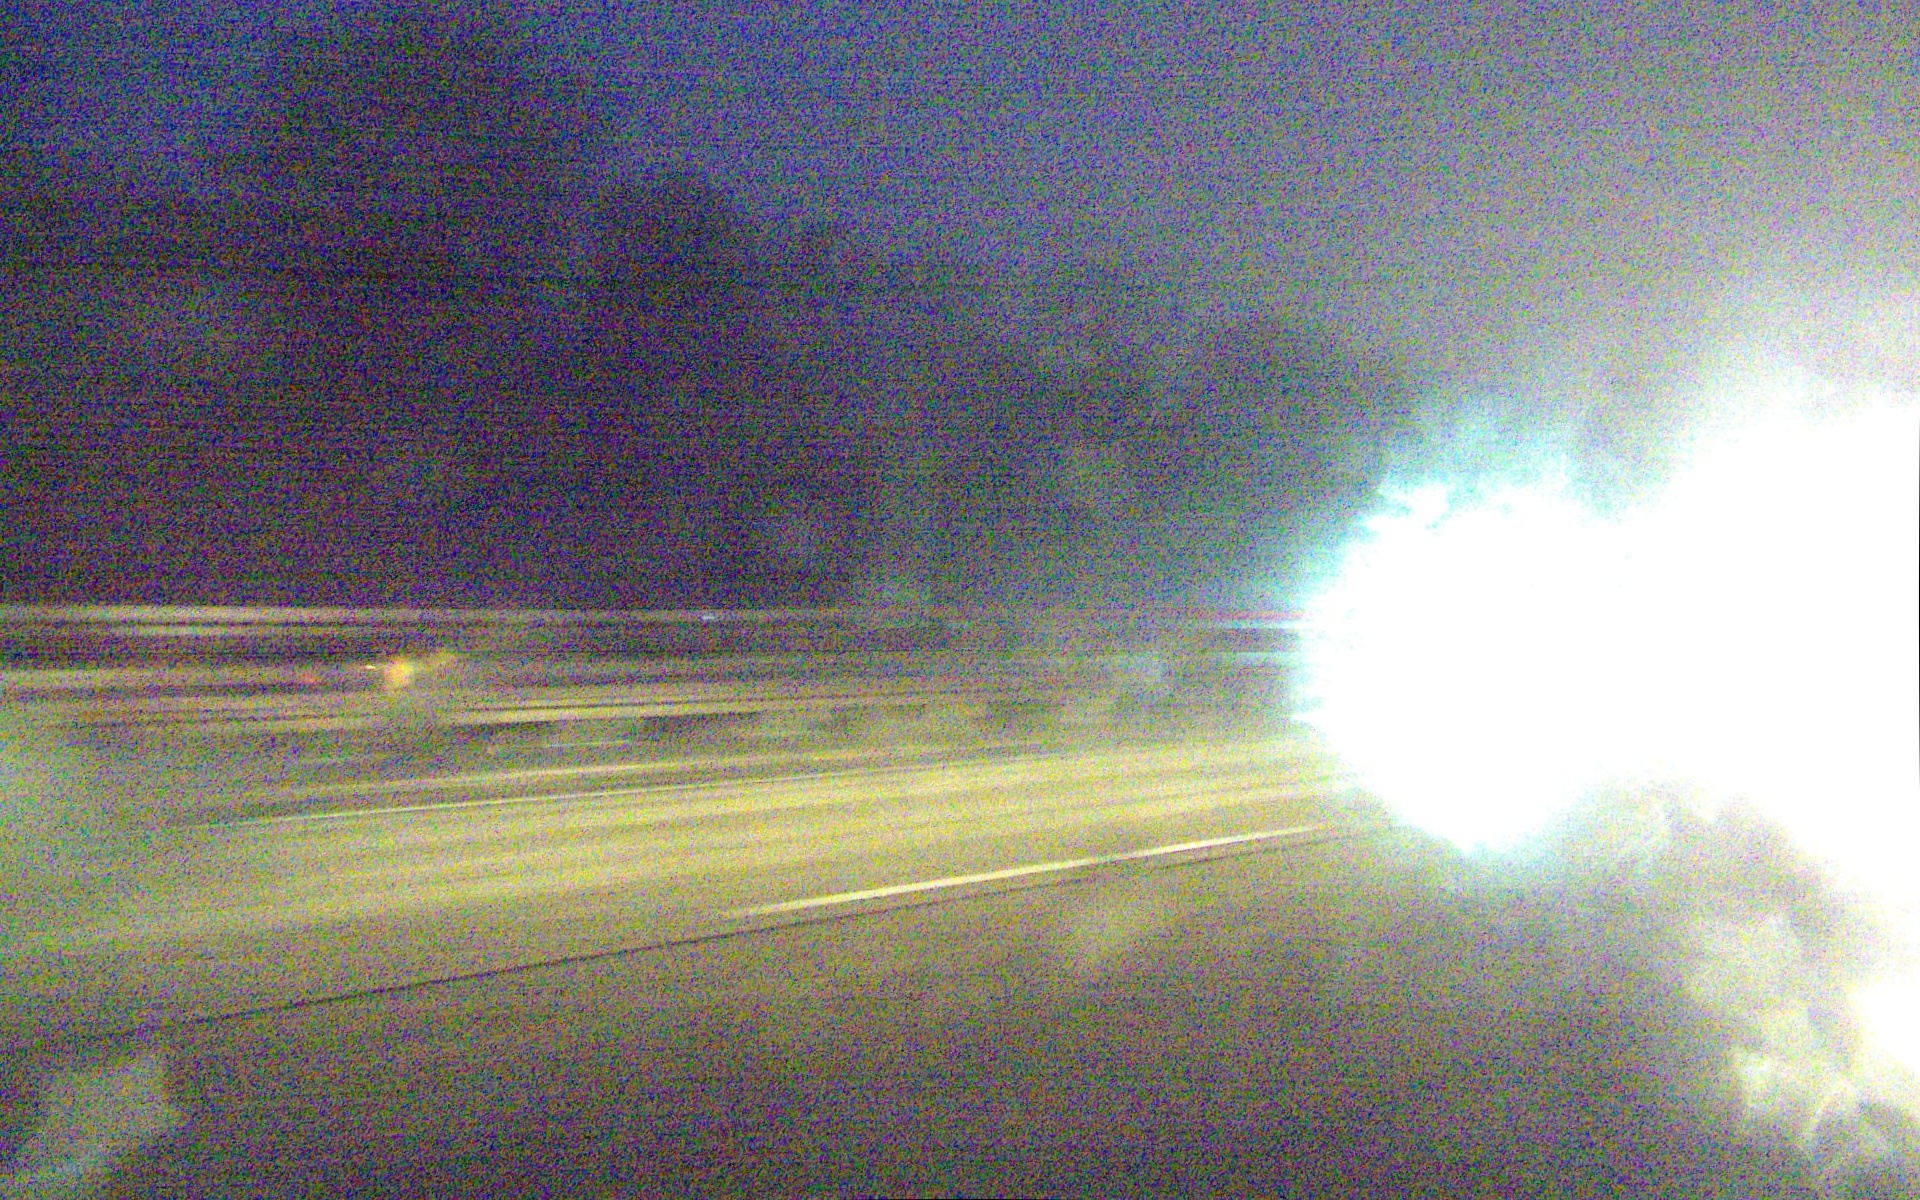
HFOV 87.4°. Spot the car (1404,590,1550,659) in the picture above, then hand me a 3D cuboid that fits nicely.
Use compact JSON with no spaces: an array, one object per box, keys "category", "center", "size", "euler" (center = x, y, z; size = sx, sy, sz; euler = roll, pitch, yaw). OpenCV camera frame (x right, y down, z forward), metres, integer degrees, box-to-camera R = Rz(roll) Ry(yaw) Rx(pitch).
[{"category":"car","center":[16.617,0.789,32.220],"size":[4.757,2.040,1.982],"euler":[2,0,-32]}]
